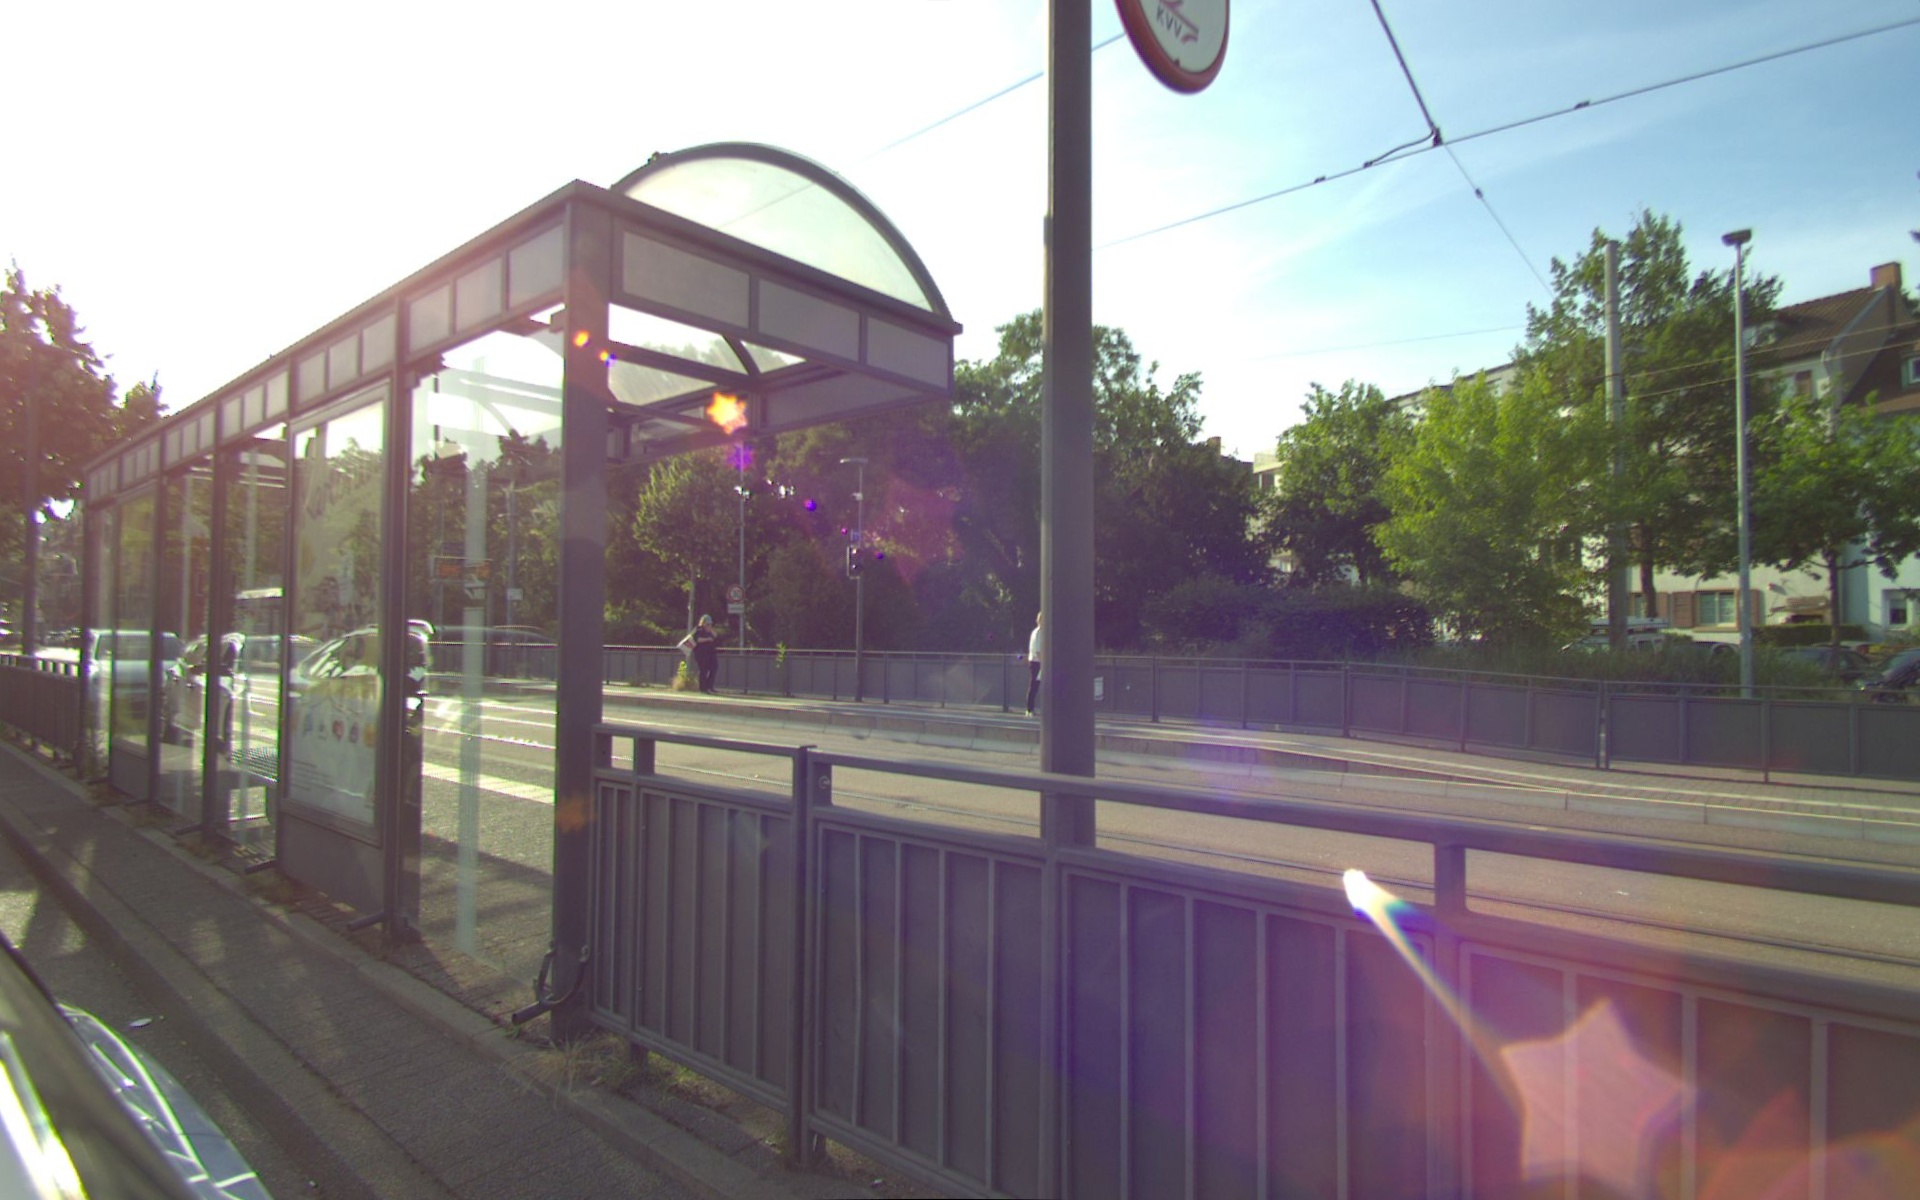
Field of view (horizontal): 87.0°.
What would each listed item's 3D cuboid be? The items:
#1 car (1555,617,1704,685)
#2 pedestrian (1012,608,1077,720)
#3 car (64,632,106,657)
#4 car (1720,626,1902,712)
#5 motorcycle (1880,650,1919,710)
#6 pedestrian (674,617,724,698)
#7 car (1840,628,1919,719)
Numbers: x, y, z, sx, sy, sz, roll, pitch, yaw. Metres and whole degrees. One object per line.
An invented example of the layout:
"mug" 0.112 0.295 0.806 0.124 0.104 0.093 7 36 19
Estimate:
"car" 18.450 1.394 27.885 3.931 1.767 1.860 2 -3 -30
"pedestrian" 1.290 0.963 15.405 0.727 1.640 0.699 -2 -3 41
"car" -71.168 3.610 82.274 3.997 2.029 1.973 -2 -3 41
"car" 18.995 1.489 22.567 3.931 1.767 1.860 2 -3 -30
"motorcycle" 17.018 1.416 17.976 0.920 1.059 0.494 -2 -3 38
"pedestrian" -5.423 1.177 21.023 0.689 1.640 0.727 -2 -3 41
"car" 20.207 1.494 20.914 3.931 1.767 1.860 2 -3 -30
